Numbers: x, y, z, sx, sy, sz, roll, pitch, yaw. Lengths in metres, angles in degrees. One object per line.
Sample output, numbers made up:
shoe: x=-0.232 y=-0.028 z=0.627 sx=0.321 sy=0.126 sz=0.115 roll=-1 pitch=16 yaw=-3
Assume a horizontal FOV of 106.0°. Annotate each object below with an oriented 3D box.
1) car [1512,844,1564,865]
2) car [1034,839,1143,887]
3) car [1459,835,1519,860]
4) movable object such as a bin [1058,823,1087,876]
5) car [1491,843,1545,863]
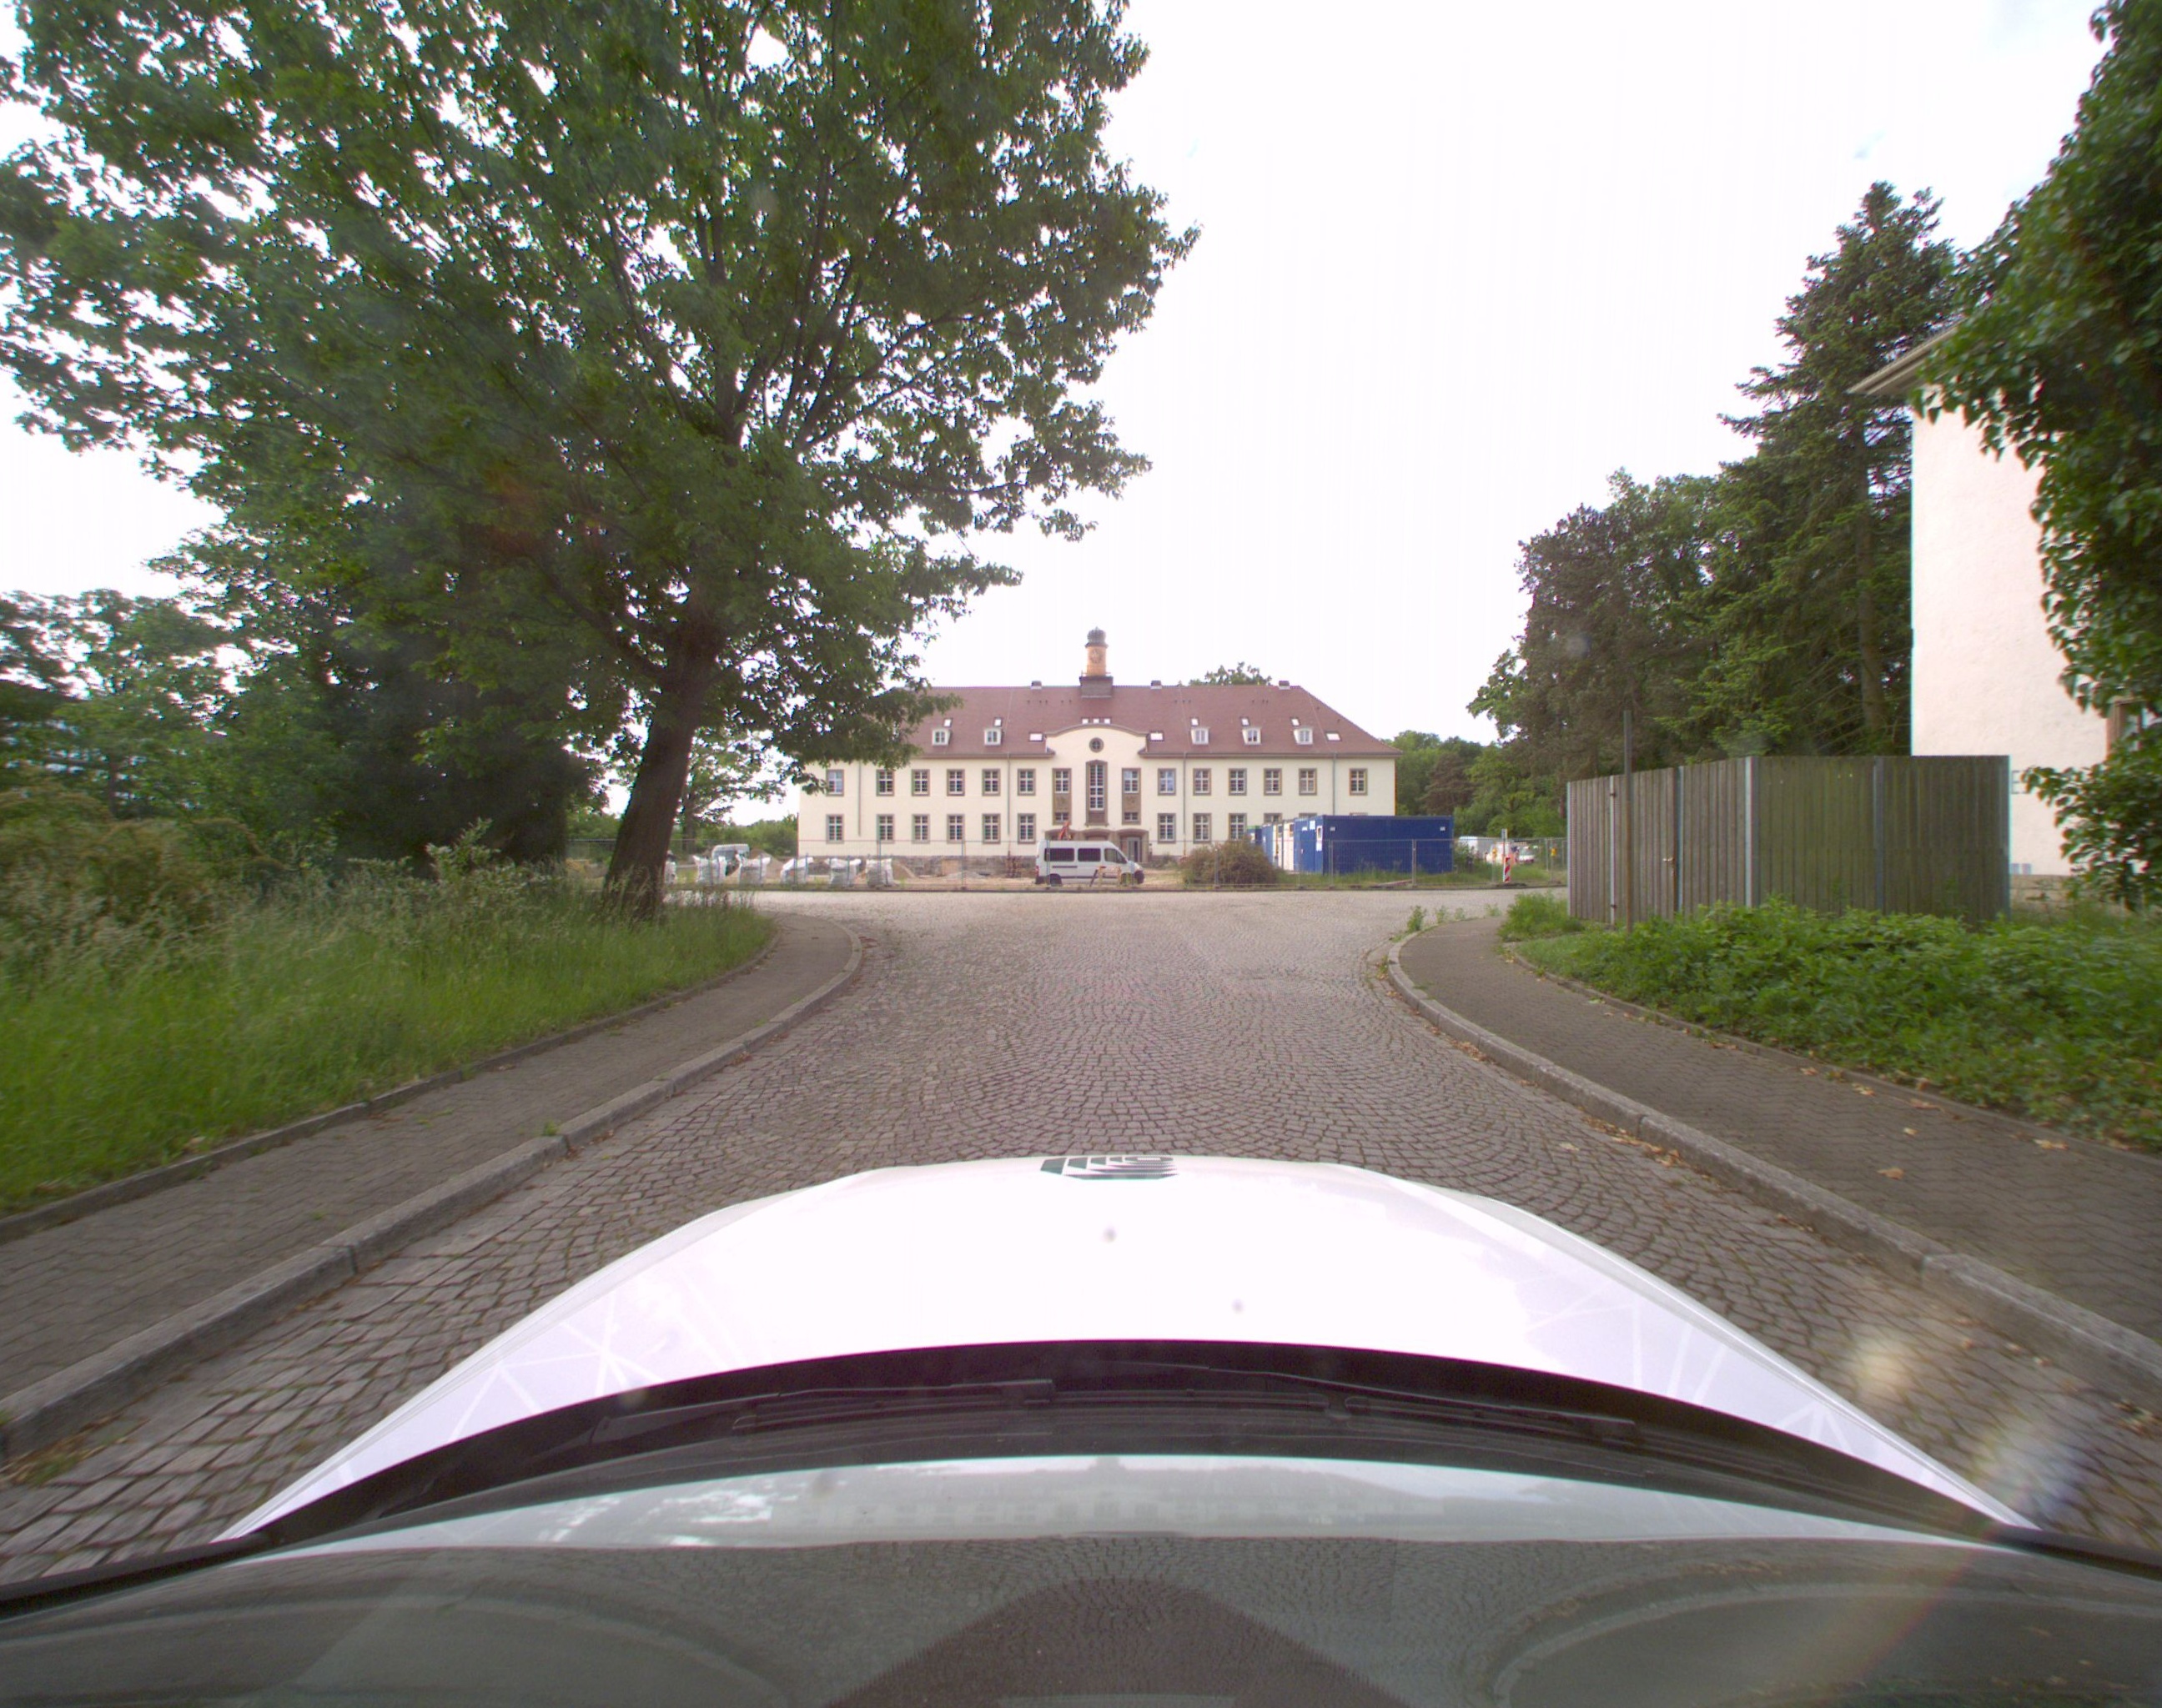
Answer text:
car: x=33.915 y=0.037 z=60.445 sx=4.000 sy=1.487 sz=1.605 roll=-1 pitch=1 yaw=-31
car: x=0.414 y=0.442 z=40.162 sx=5.243 sy=2.344 sz=1.911 roll=0 pitch=0 yaw=1
car: x=33.545 y=-0.529 z=66.923 sx=5.439 sy=2.043 sz=1.747 roll=0 pitch=0 yaw=-31
movable object such as a bin: x=-0.712 y=-0.318 z=61.393 sx=1.989 sy=3.771 sz=5.312 roll=0 pitch=0 yaw=-3
car: x=34.409 y=-0.109 z=64.085 sx=4.460 sy=1.502 sz=1.747 roll=0 pitch=0 yaw=-31
